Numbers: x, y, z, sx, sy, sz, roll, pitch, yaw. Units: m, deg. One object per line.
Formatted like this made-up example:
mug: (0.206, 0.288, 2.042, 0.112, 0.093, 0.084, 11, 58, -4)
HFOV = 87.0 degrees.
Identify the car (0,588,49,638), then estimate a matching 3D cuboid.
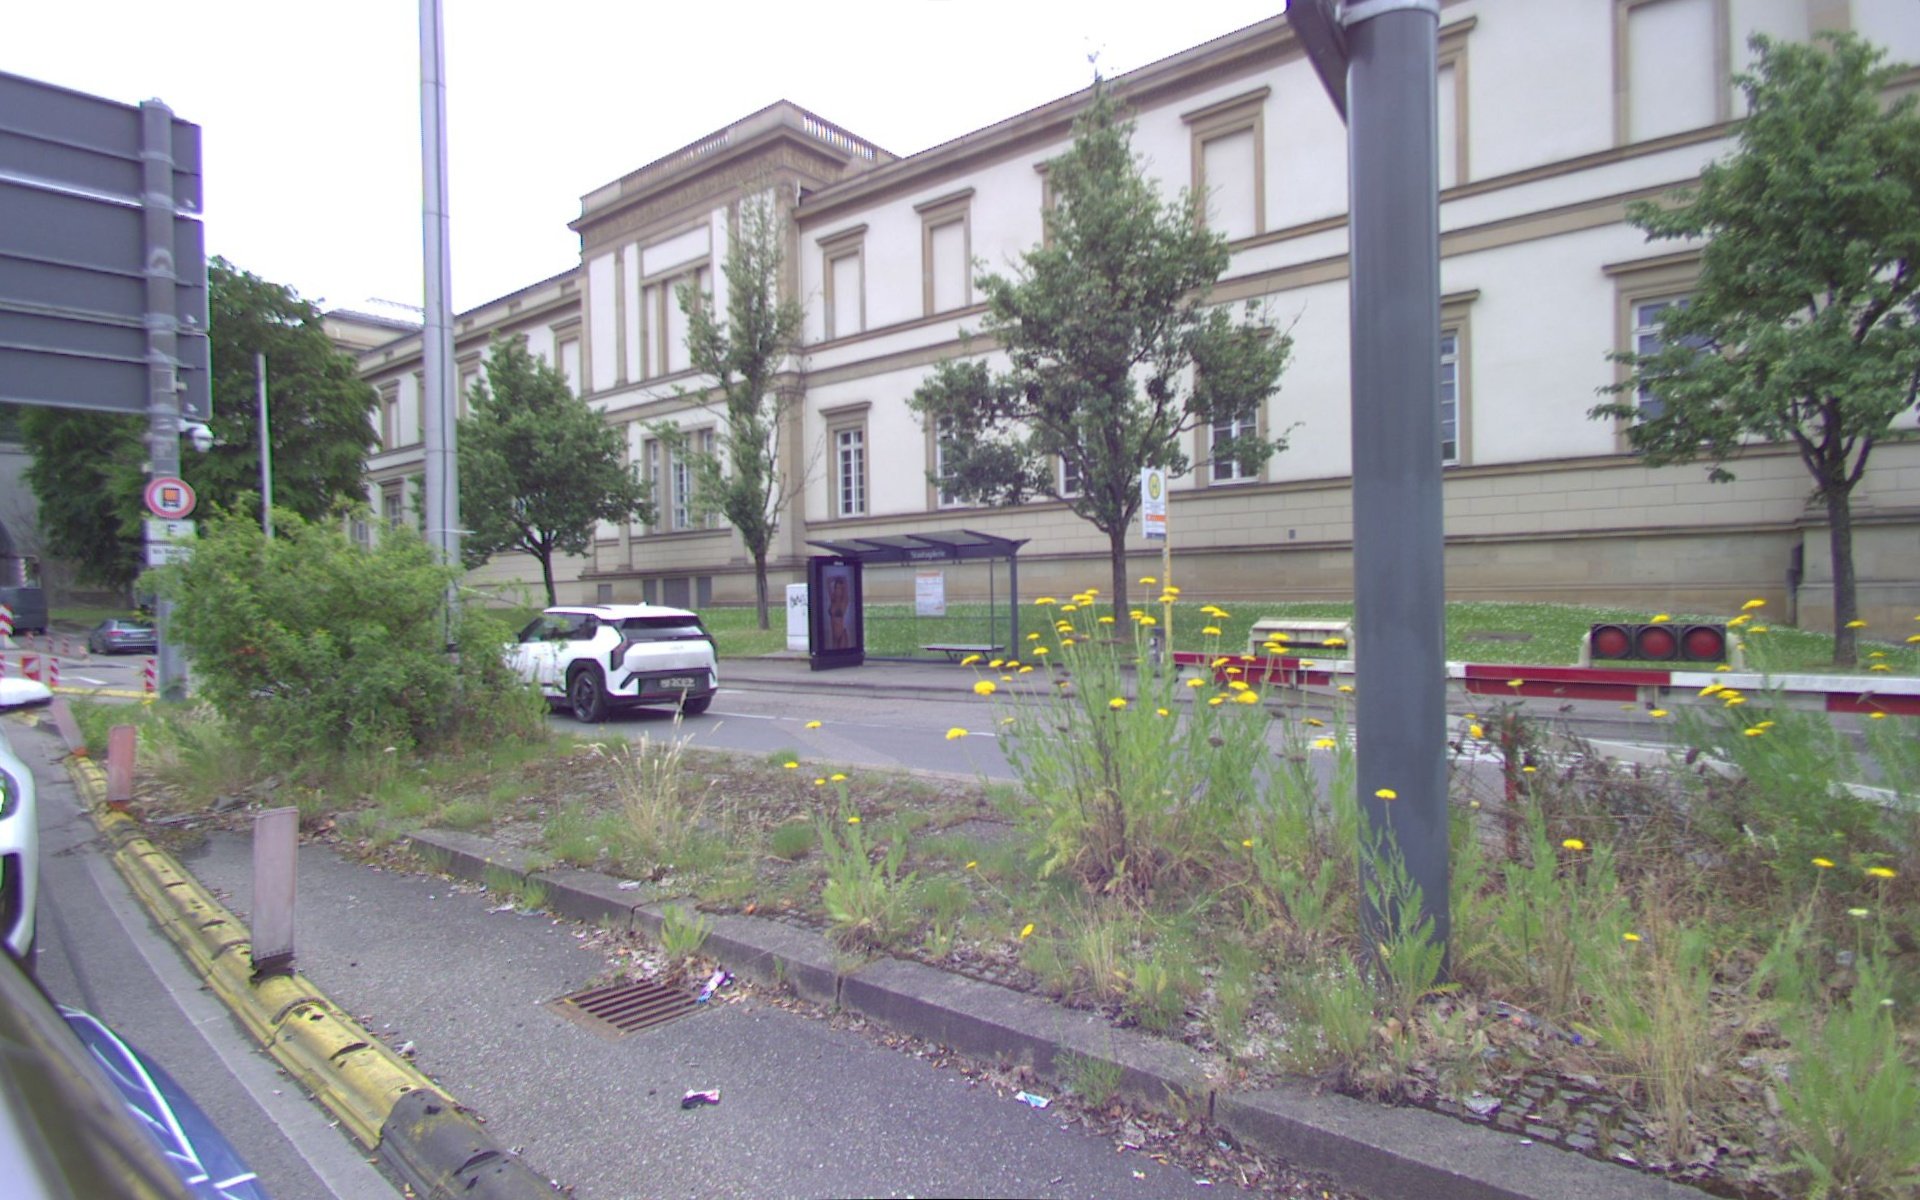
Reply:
car: (-49.873, 0.685, 53.457, 4.758, 2.527, 2.174, -1, 0, 43)

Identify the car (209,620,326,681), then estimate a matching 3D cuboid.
car: (-18.487, 1.304, 26.969, 3.570, 1.489, 1.626, -1, -1, 39)

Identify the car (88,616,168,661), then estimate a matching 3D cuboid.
car: (-32.772, 1.480, 39.818, 3.800, 1.630, 1.756, -1, 0, 40)

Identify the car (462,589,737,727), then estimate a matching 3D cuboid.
car: (-5.312, 0.737, 14.656, 4.265, 1.704, 1.851, -1, 0, 40)

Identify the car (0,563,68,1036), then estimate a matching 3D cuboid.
car: (-5.226, 0.715, 4.104, 3.668, 1.637, 1.962, -1, 0, 41)
